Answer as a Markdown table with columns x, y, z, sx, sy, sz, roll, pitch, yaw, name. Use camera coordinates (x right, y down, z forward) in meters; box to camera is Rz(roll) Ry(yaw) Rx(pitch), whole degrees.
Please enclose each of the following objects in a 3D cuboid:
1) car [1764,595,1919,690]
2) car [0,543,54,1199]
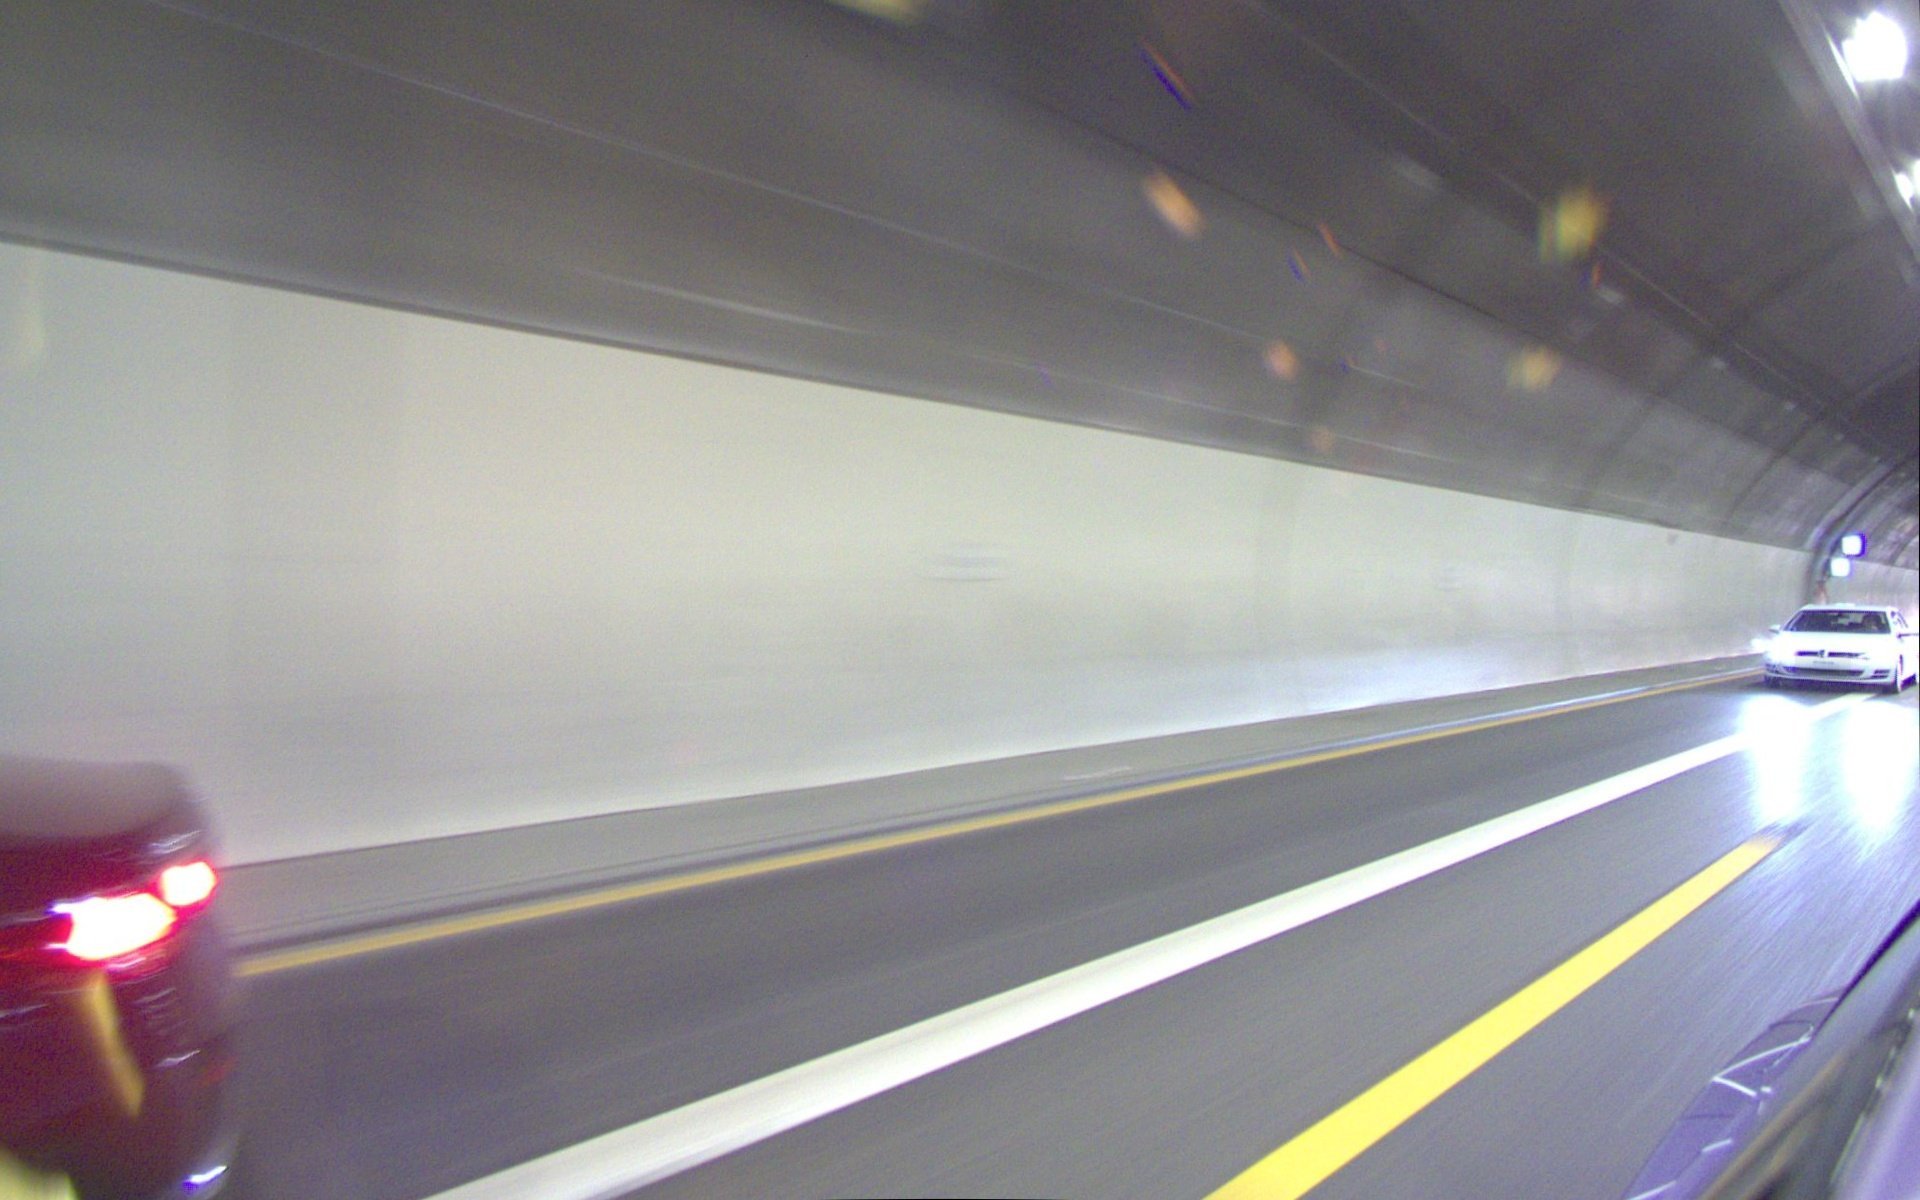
| x | y | z | sx | sy | sz | roll | pitch | yaw | name |
| --- | --- | --- | --- | --- | --- | --- | --- | --- | --- |
| 15.710 | 0.653 | 17.691 | 3.962 | 1.479 | 1.801 | 0 | 0 | -39 | car |
| -3.898 | 0.688 | 0.655 | 4.867 | 1.491 | 1.929 | -1 | -1 | -41 | car |
